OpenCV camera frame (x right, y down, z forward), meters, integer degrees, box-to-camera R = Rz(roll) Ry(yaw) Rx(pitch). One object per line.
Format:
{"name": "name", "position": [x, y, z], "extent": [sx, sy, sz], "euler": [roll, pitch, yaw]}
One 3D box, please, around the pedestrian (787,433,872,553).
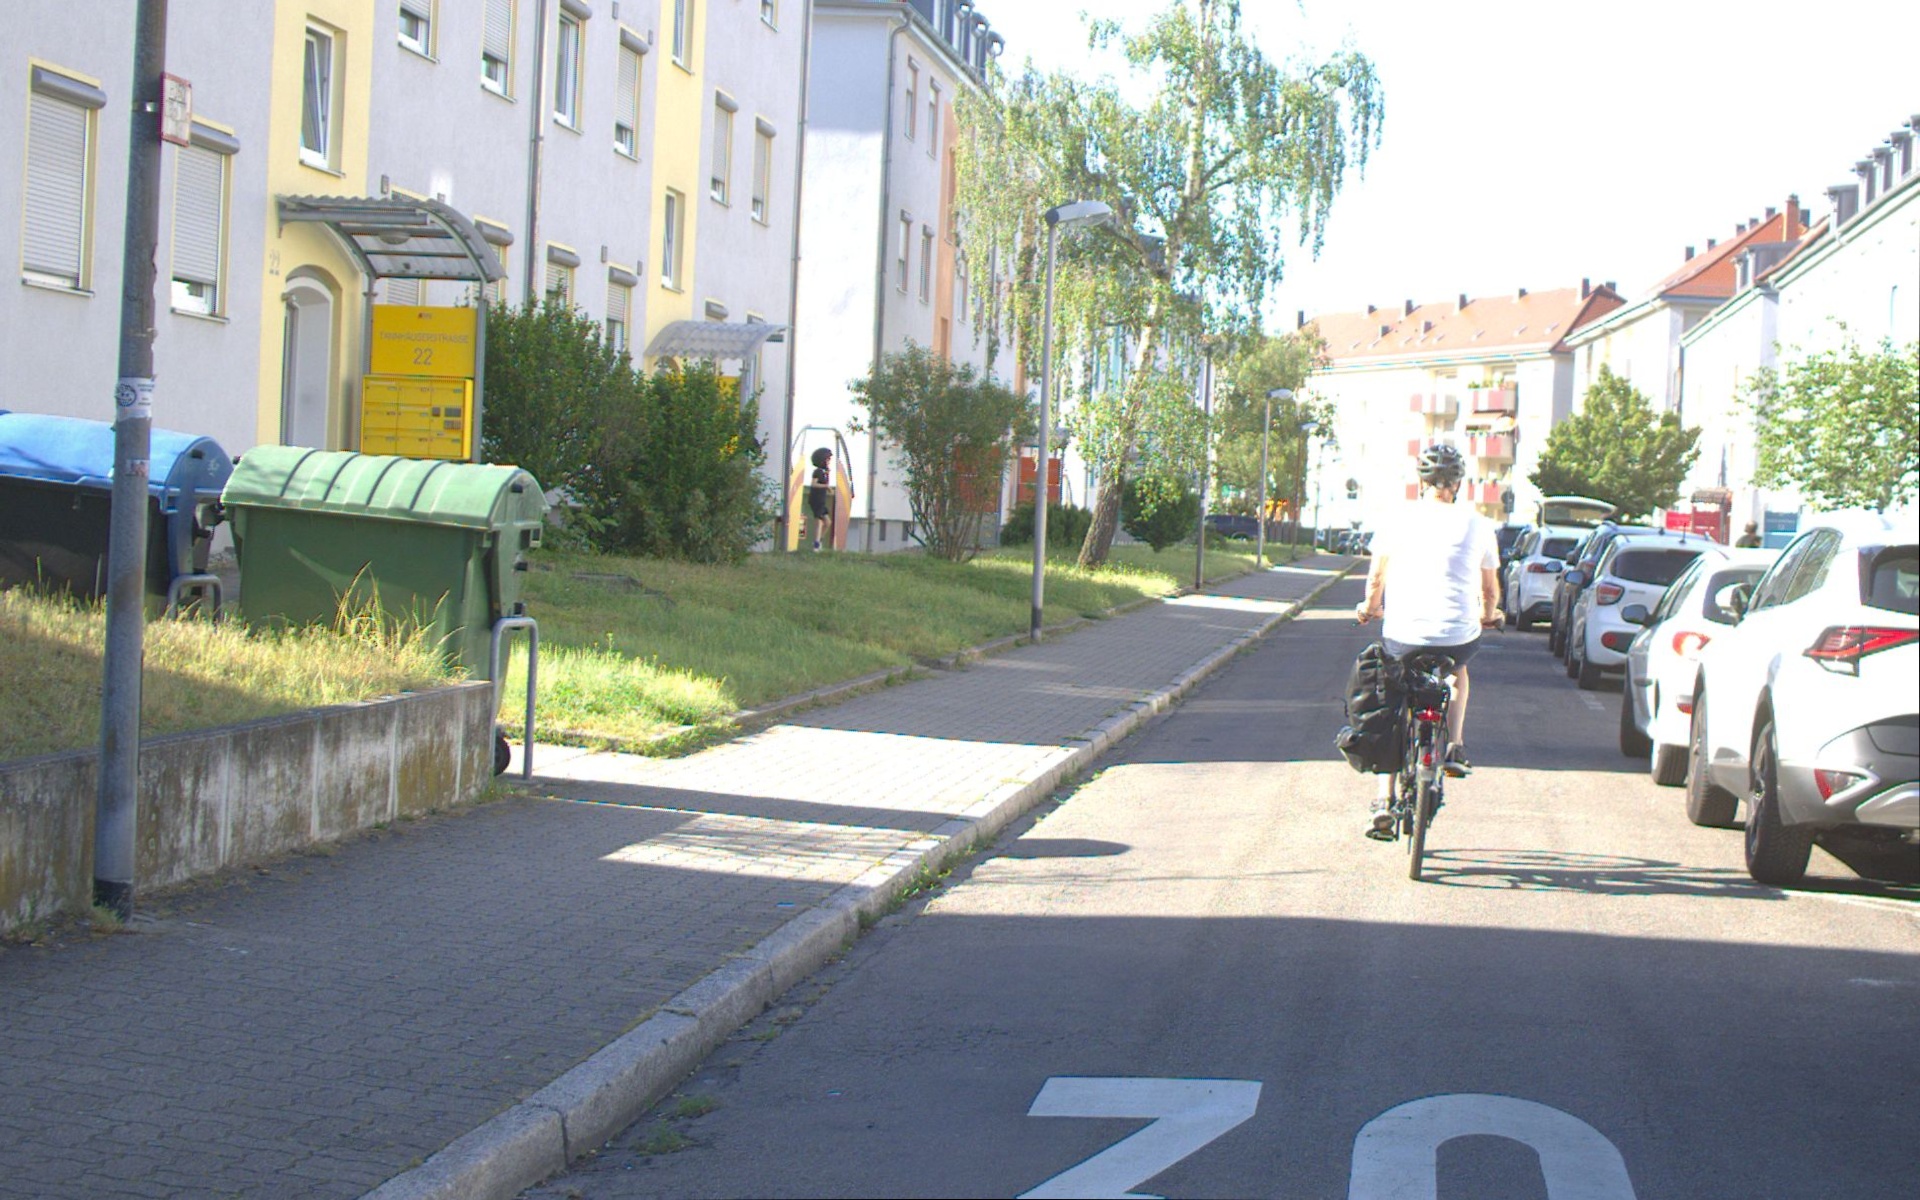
{"name": "pedestrian", "position": [-1.699, -1.392, 44.946], "extent": [0.864, 1.516, 1.068], "euler": [3, 1, 8]}

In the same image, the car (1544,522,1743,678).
{"name": "car", "position": [7.525, -0.038, 38.176], "extent": [1.835, 1.552, 3.999], "euler": [3, 1, 7]}

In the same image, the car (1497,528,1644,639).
{"name": "car", "position": [9.045, -0.281, 51.188], "extent": [1.895, 1.491, 4.091], "euler": [3, 1, 7]}

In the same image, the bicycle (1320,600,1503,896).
{"name": "bicycle", "position": [1.921, 0.601, 14.808], "extent": [0.661, 1.123, 1.765], "euler": [4, 1, 6]}

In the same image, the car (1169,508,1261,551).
{"name": "car", "position": [11.582, -3.211, 156.002], "extent": [3.988, 1.795, 2.000], "euler": [2, 1, 7]}

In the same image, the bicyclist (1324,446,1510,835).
{"name": "bicyclist", "position": [1.953, 0.161, 14.747], "extent": [0.694, 1.590, 0.791], "euler": [3, 1, 7]}

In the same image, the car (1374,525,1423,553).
{"name": "car", "position": [25.863, -3.611, 202.878], "extent": [1.993, 1.570, 4.001], "euler": [2, 2, -4]}

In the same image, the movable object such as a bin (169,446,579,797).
{"name": "movable object such as a bin", "position": [-2.669, 0.079, 15.834], "extent": [1.492, 1.473, 1.264], "euler": [3, 1, 8]}

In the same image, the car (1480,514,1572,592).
{"name": "car", "position": [12.629, -1.068, 76.851], "extent": [1.806, 1.599, 4.403], "euler": [3, 1, 7]}

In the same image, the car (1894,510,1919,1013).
{"name": "car", "position": [3.693, 0.482, 8.834], "extent": [1.864, 1.724, 4.294], "euler": [3, 1, 8]}

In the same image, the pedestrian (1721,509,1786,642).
{"name": "pedestrian", "position": [12.289, -0.382, 53.252], "extent": [0.791, 2.006, 1.082], "euler": [2, 1, 8]}

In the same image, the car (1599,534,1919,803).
{"name": "car", "position": [5.030, 0.359, 21.300], "extent": [1.757, 1.427, 3.628], "euler": [3, 2, 6]}

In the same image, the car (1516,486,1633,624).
{"name": "car", "position": [10.141, -0.757, 56.917], "extent": [1.619, 2.136, 3.999], "euler": [3, 1, 7]}

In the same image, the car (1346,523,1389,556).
{"name": "car", "position": [20.877, -3.116, 176.376], "extent": [1.994, 1.570, 4.000], "euler": [2, 2, 5]}

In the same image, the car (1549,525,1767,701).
{"name": "car", "position": [6.703, 0.080, 33.303], "extent": [1.632, 1.485, 3.622], "euler": [5, 2, 6]}

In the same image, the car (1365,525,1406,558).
{"name": "car", "position": [21.138, -2.913, 171.007], "extent": [1.757, 1.570, 3.903], "euler": [2, 2, 4]}

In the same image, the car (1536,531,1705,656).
{"name": "car", "position": [8.371, -0.117, 43.830], "extent": [1.835, 1.430, 3.751], "euler": [3, 1, 7]}

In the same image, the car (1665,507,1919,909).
{"name": "car", "position": [4.479, 0.426, 15.807], "extent": [1.983, 1.586, 4.124], "euler": [3, 1, 6]}

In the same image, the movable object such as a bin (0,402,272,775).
{"name": "movable object such as a bin", "position": [-4.159, -0.081, 15.942], "extent": [1.499, 1.617, 1.263], "euler": [3, 1, 8]}
